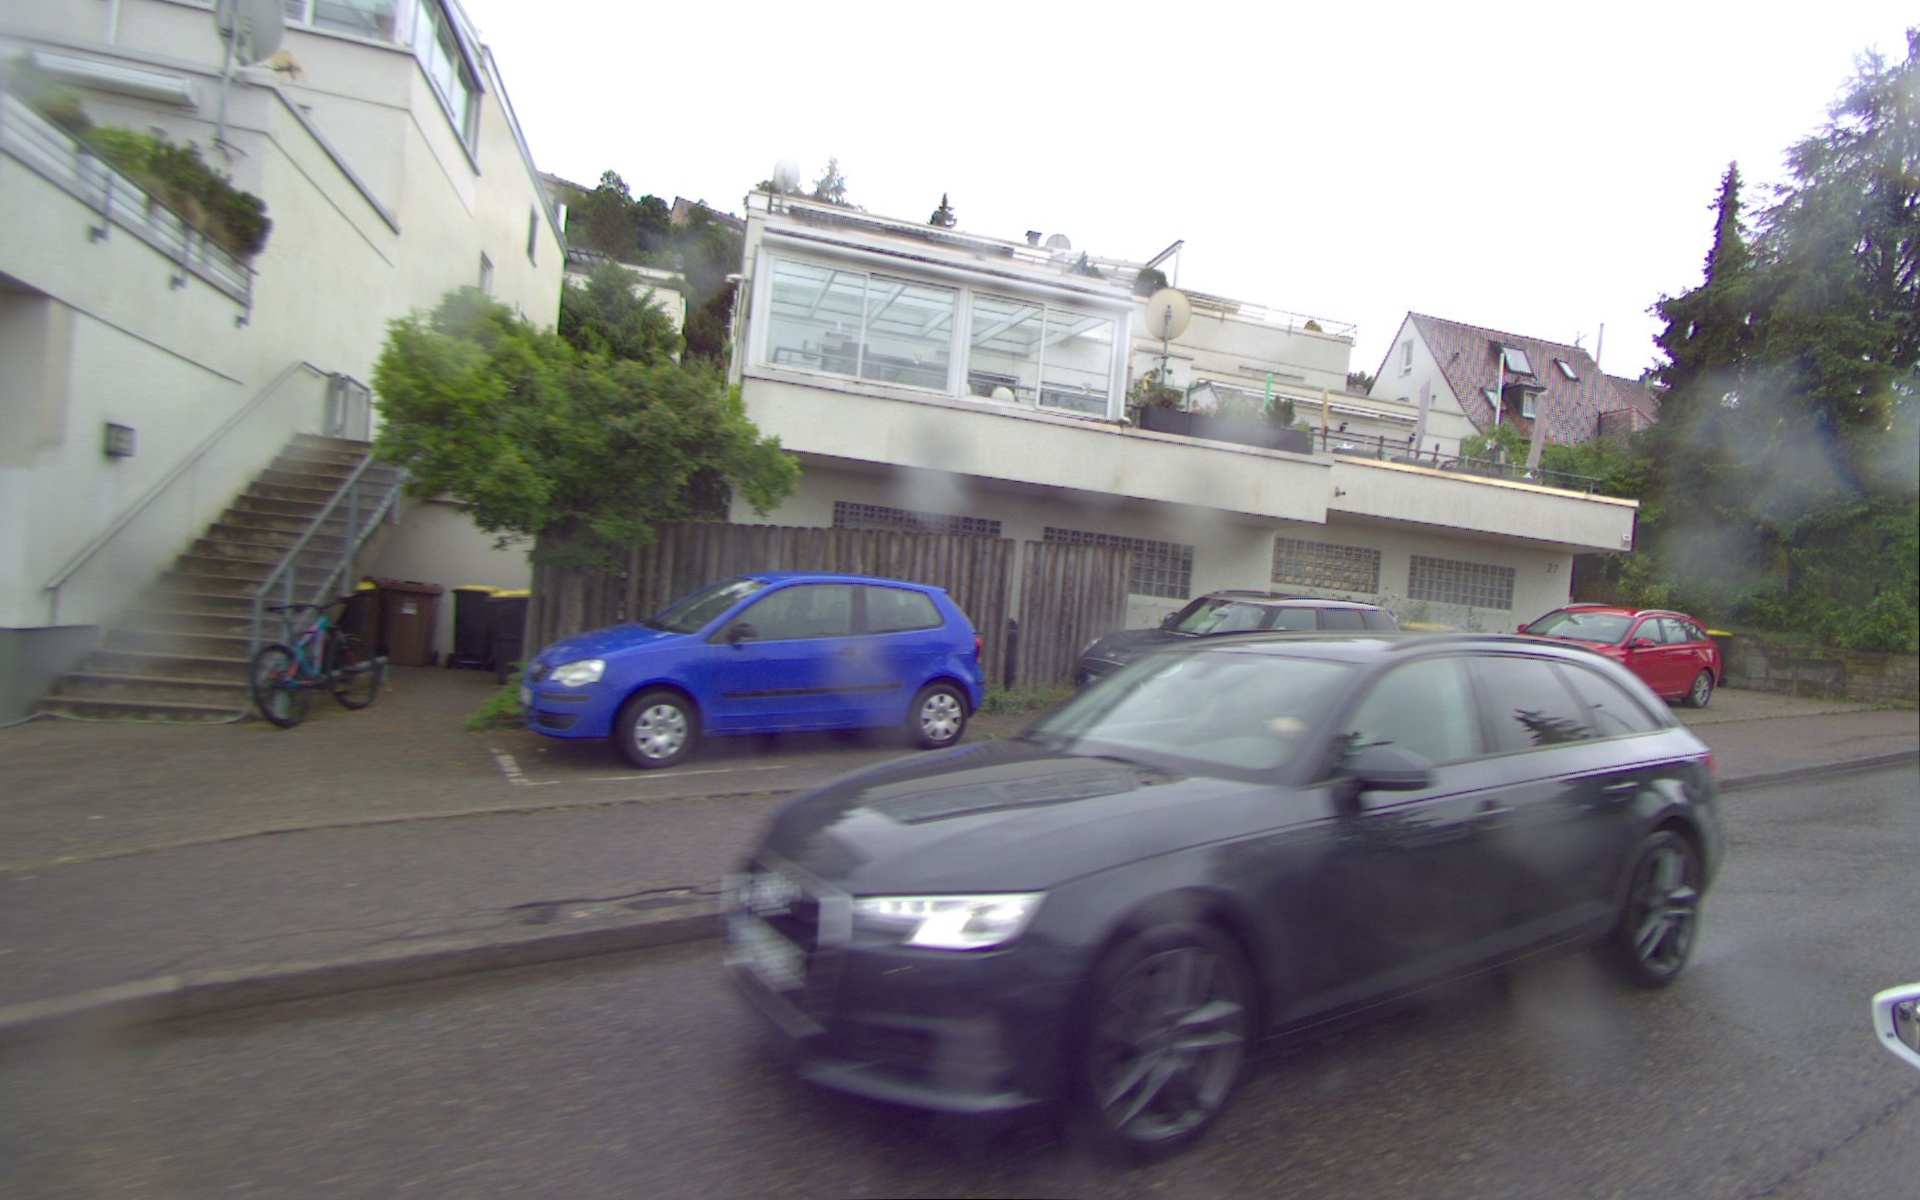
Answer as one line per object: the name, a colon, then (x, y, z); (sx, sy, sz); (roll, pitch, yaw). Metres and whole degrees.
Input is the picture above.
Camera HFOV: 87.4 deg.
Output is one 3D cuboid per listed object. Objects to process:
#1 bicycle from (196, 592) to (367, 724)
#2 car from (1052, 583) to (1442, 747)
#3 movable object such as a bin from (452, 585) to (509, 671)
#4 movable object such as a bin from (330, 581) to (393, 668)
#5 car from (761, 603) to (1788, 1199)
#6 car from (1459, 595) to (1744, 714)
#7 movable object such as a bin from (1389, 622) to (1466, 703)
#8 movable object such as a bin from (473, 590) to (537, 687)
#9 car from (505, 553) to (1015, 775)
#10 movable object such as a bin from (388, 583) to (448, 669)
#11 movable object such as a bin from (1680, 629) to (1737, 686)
bicycle: (-5.977, 0.470, 8.943); (0.469, 1.020, 1.568); (3, 2, -2)
car: (3.225, 0.652, 11.062); (4.190, 1.415, 1.624); (2, 4, -31)
movable object such as a bin: (-6.251, 0.364, 13.106); (0.553, 1.071, 0.546); (2, 2, -17)
movable object such as a bin: (-7.642, 0.303, 12.841); (0.553, 1.055, 0.546); (2, 2, -17)
car: (1.522, 0.830, 4.254); (4.313, 1.456, 1.765); (2, -3, -32)
car: (9.977, 0.805, 15.541); (4.535, 1.456, 1.765); (2, 5, -31)
movable object such as a bin: (6.687, 0.879, 14.375); (0.741, 1.098, 0.638); (2, 1, -25)
movable object such as a bin: (-5.149, 0.428, 11.390); (0.553, 1.055, 0.546); (2, 2, -17)
car: (-1.618, 0.442, 8.528); (3.914, 1.453, 1.598); (1, 4, -32)
movable object such as a bin: (-6.983, 0.325, 12.959); (0.553, 1.055, 0.546); (2, 2, -17)
movable object such as a bin: (14.664, 1.124, 19.696); (0.672, 1.070, 0.577); (2, 1, -19)
